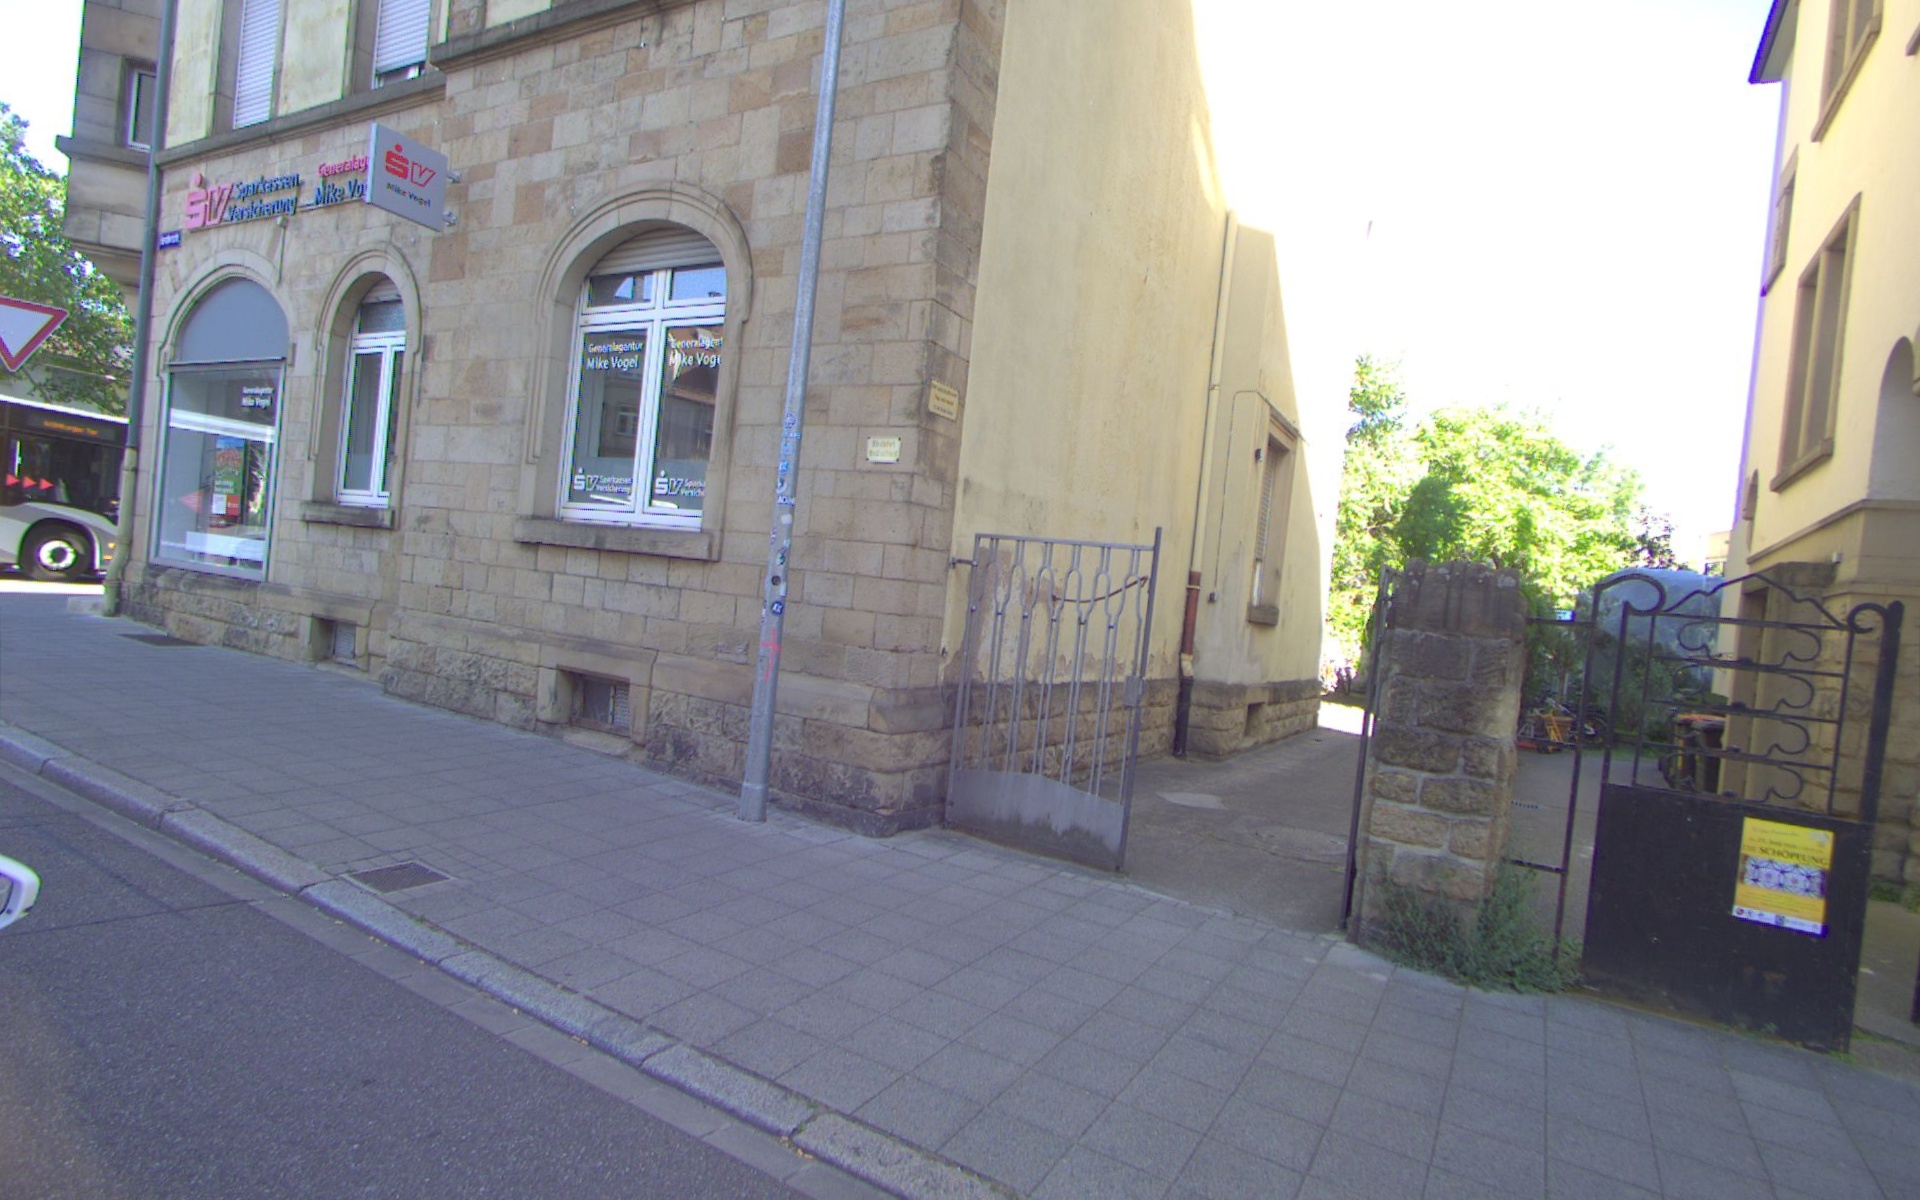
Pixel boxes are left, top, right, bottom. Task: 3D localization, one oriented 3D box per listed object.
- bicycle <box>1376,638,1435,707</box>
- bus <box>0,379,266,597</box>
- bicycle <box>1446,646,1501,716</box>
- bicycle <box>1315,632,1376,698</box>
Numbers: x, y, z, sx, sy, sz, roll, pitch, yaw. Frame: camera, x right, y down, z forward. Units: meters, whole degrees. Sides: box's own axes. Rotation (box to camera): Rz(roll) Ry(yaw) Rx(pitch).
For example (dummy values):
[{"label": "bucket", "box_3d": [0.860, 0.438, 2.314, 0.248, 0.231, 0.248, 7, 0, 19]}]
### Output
[{"label": "bicycle", "box_3d": [11.212, 1.774, 25.253, 0.904, 1.532, 2.667, 6, 2, 31]}, {"label": "bus", "box_3d": [-16.534, -2.035, 15.331, 2.696, 3.134, 9.647, 7, 0, 24]}, {"label": "bicycle", "box_3d": [12.598, 1.934, 24.639, 0.904, 1.532, 2.667, 6, 2, 31]}, {"label": "bicycle", "box_3d": [9.979, 1.640, 25.969, 0.904, 1.532, 2.667, 6, 2, 31]}]
